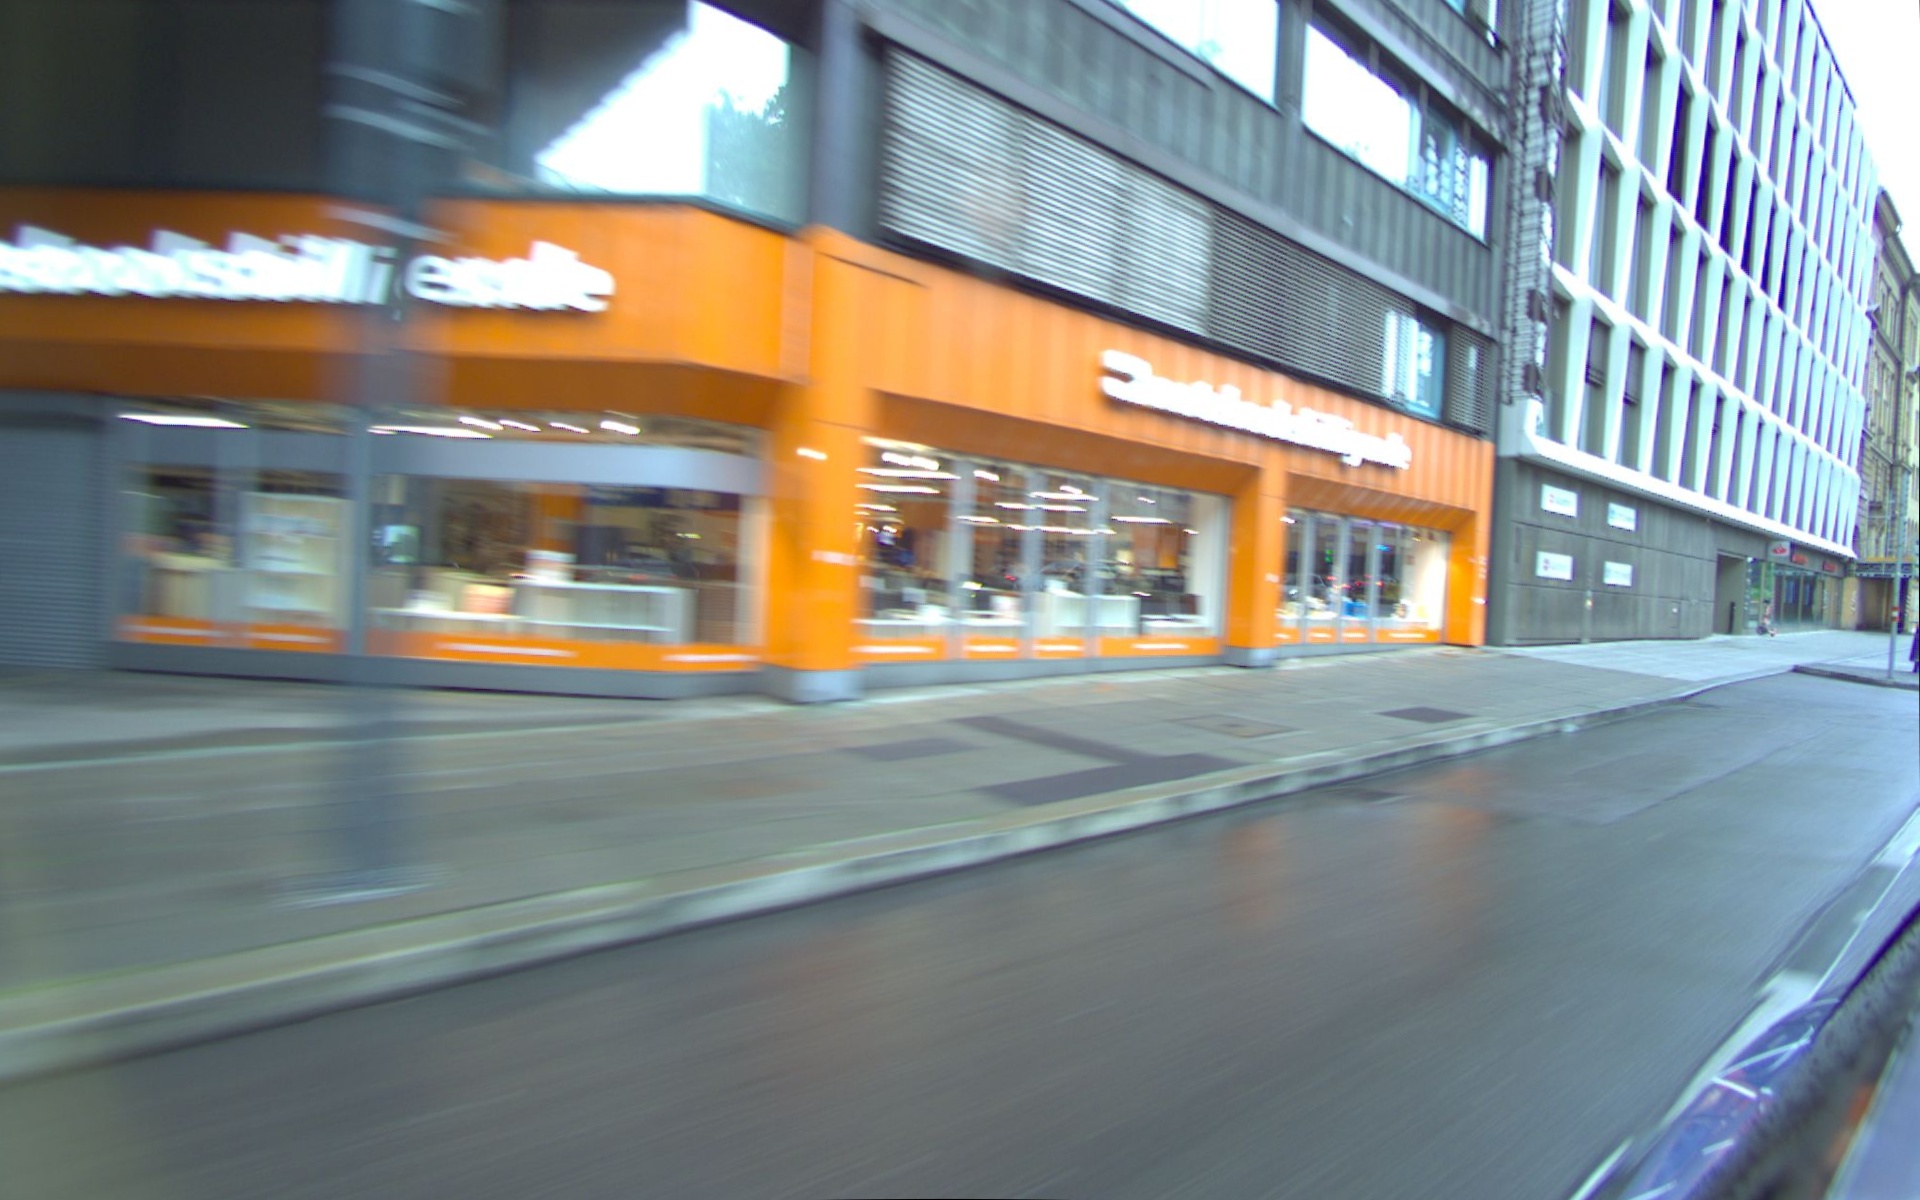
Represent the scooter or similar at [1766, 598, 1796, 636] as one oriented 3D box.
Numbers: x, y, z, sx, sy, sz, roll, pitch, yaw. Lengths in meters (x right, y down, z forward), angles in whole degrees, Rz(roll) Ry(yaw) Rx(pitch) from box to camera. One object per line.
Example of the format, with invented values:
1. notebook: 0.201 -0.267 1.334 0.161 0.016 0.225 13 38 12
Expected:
1. scooter or similar: 27.772 0.566 34.232 1.166 1.251 0.413 1 1 -33
